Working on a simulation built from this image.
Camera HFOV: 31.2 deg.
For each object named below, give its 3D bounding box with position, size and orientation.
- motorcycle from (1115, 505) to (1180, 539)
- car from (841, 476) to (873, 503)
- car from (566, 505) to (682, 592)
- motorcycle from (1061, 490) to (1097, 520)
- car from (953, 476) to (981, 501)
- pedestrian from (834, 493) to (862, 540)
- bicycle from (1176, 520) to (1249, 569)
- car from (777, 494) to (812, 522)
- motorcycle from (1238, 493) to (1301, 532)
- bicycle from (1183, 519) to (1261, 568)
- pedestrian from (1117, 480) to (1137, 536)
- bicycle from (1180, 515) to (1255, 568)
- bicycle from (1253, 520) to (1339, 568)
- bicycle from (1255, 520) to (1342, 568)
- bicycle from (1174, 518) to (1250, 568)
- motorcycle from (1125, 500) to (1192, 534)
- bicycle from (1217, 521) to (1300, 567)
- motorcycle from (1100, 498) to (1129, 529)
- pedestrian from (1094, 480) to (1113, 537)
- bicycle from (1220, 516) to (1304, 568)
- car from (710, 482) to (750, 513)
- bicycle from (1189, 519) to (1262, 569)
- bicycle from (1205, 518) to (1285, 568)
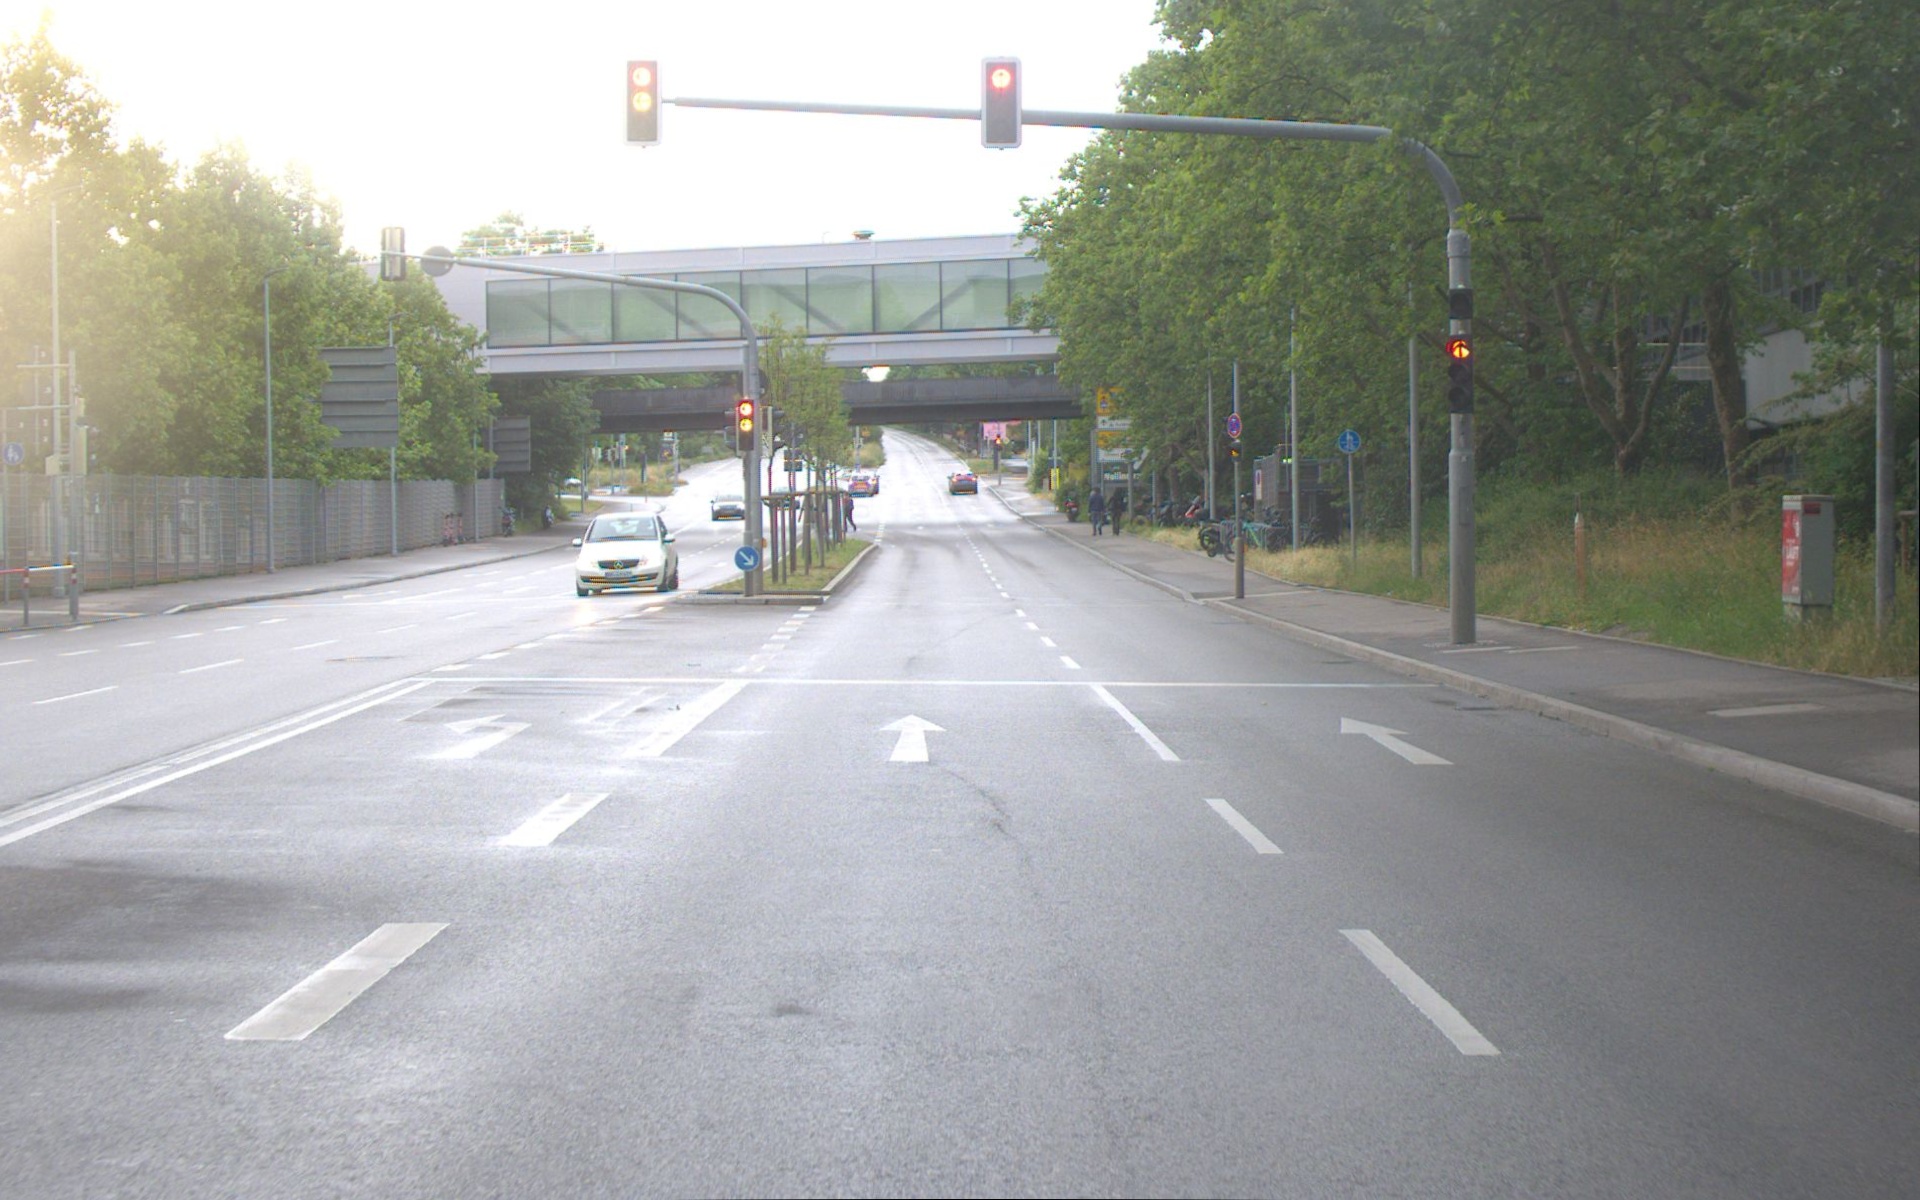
[{"bbox_3d":[7.066,-2.937,129.450,2.369,1.198,0.722,-1,1,8],"label":"motorcycle"},{"bbox_3d":[-6.997,-7.537,234.702,1.993,1.756,4.000,2,0,0],"label":"car"},{"bbox_3d":[-6.612,-1.037,67.994,1.877,1.619,3.779,-1,1,0],"label":"car"},{"bbox_3d":[5.311,-4.237,153.399,0.790,1.307,2.377,-2,1,-18],"label":"motorcycle"},{"bbox_3d":[0.474,-7.496,230.995,1.875,1.492,4.068,2,0,0],"label":"car"},{"bbox_3d":[-4.881,-3.649,149.873,0.852,1.997,0.875,-2,1,-32],"label":"pedestrian"},{"bbox_3d":[7.113,-1.567,97.042,1.990,1.324,0.576,2,0,1],"label":"bicycle"},{"bbox_3d":[-9.980,-5.564,207.203,1.877,1.619,3.779,-1,1,0],"label":"car"},{"bbox_3d":[12.143,-3.429,134.866,2.369,1.471,0.722,-1,1,8],"label":"motorcycle"},{"bbox_3d":[6.947,-1.496,91.087,1.990,1.237,0.541,2,0,1],"label":"bicycle"},{"bbox_3d":[6.001,-3.302,123.700,0.622,2.007,0.605,-2,1,0],"label":"pedestrian"},{"bbox_3d":[7.139,-1.617,95.476,1.990,1.425,0.723,2,0,1],"label":"bicycle"},{"bbox_3d":[8.040,-1.330,82.333,1.990,1.091,0.541,2,0,1],"label":"bicycle"},{"bbox_3d":[8.039,-1.326,81.764,1.990,1.091,0.541,2,0,1],"label":"bicycle"},{"bbox_3d":[6.866,-1.550,93.803,1.990,1.324,0.576,2,0,1],"label":"bicycle"},{"bbox_3d":[7.288,-3.040,126.231,2.369,1.198,0.722,-1,1,8],"label":"motorcycle"},{"bbox_3d":[7.409,-1.382,85.407,1.990,1.091,0.541,2,0,1],"label":"bicycle"},{"bbox_3d":[6.650,-3.711,148.335,0.790,1.307,2.377,-2,1,-8],"label":"motorcycle"},{"bbox_3d":[5.154,-3.297,123.627,0.622,2.007,0.605,-2,1,0],"label":"pedestrian"},{"bbox_3d":[7.360,-1.419,83.800,1.990,1.212,0.541,2,0,1],"label":"bicycle"},{"bbox_3d":[-12.383,-5.535,185.194,1.877,1.619,3.779,-1,1,0],"label":"car"},{"bbox_3d":[7.440,-1.564,96.327,1.990,1.324,0.576,2,0,1],"label":"bicycle"},{"bbox_3d":[7.347,-1.469,88.759,1.990,1.237,0.541,2,0,1],"label":"bicycle"}]
